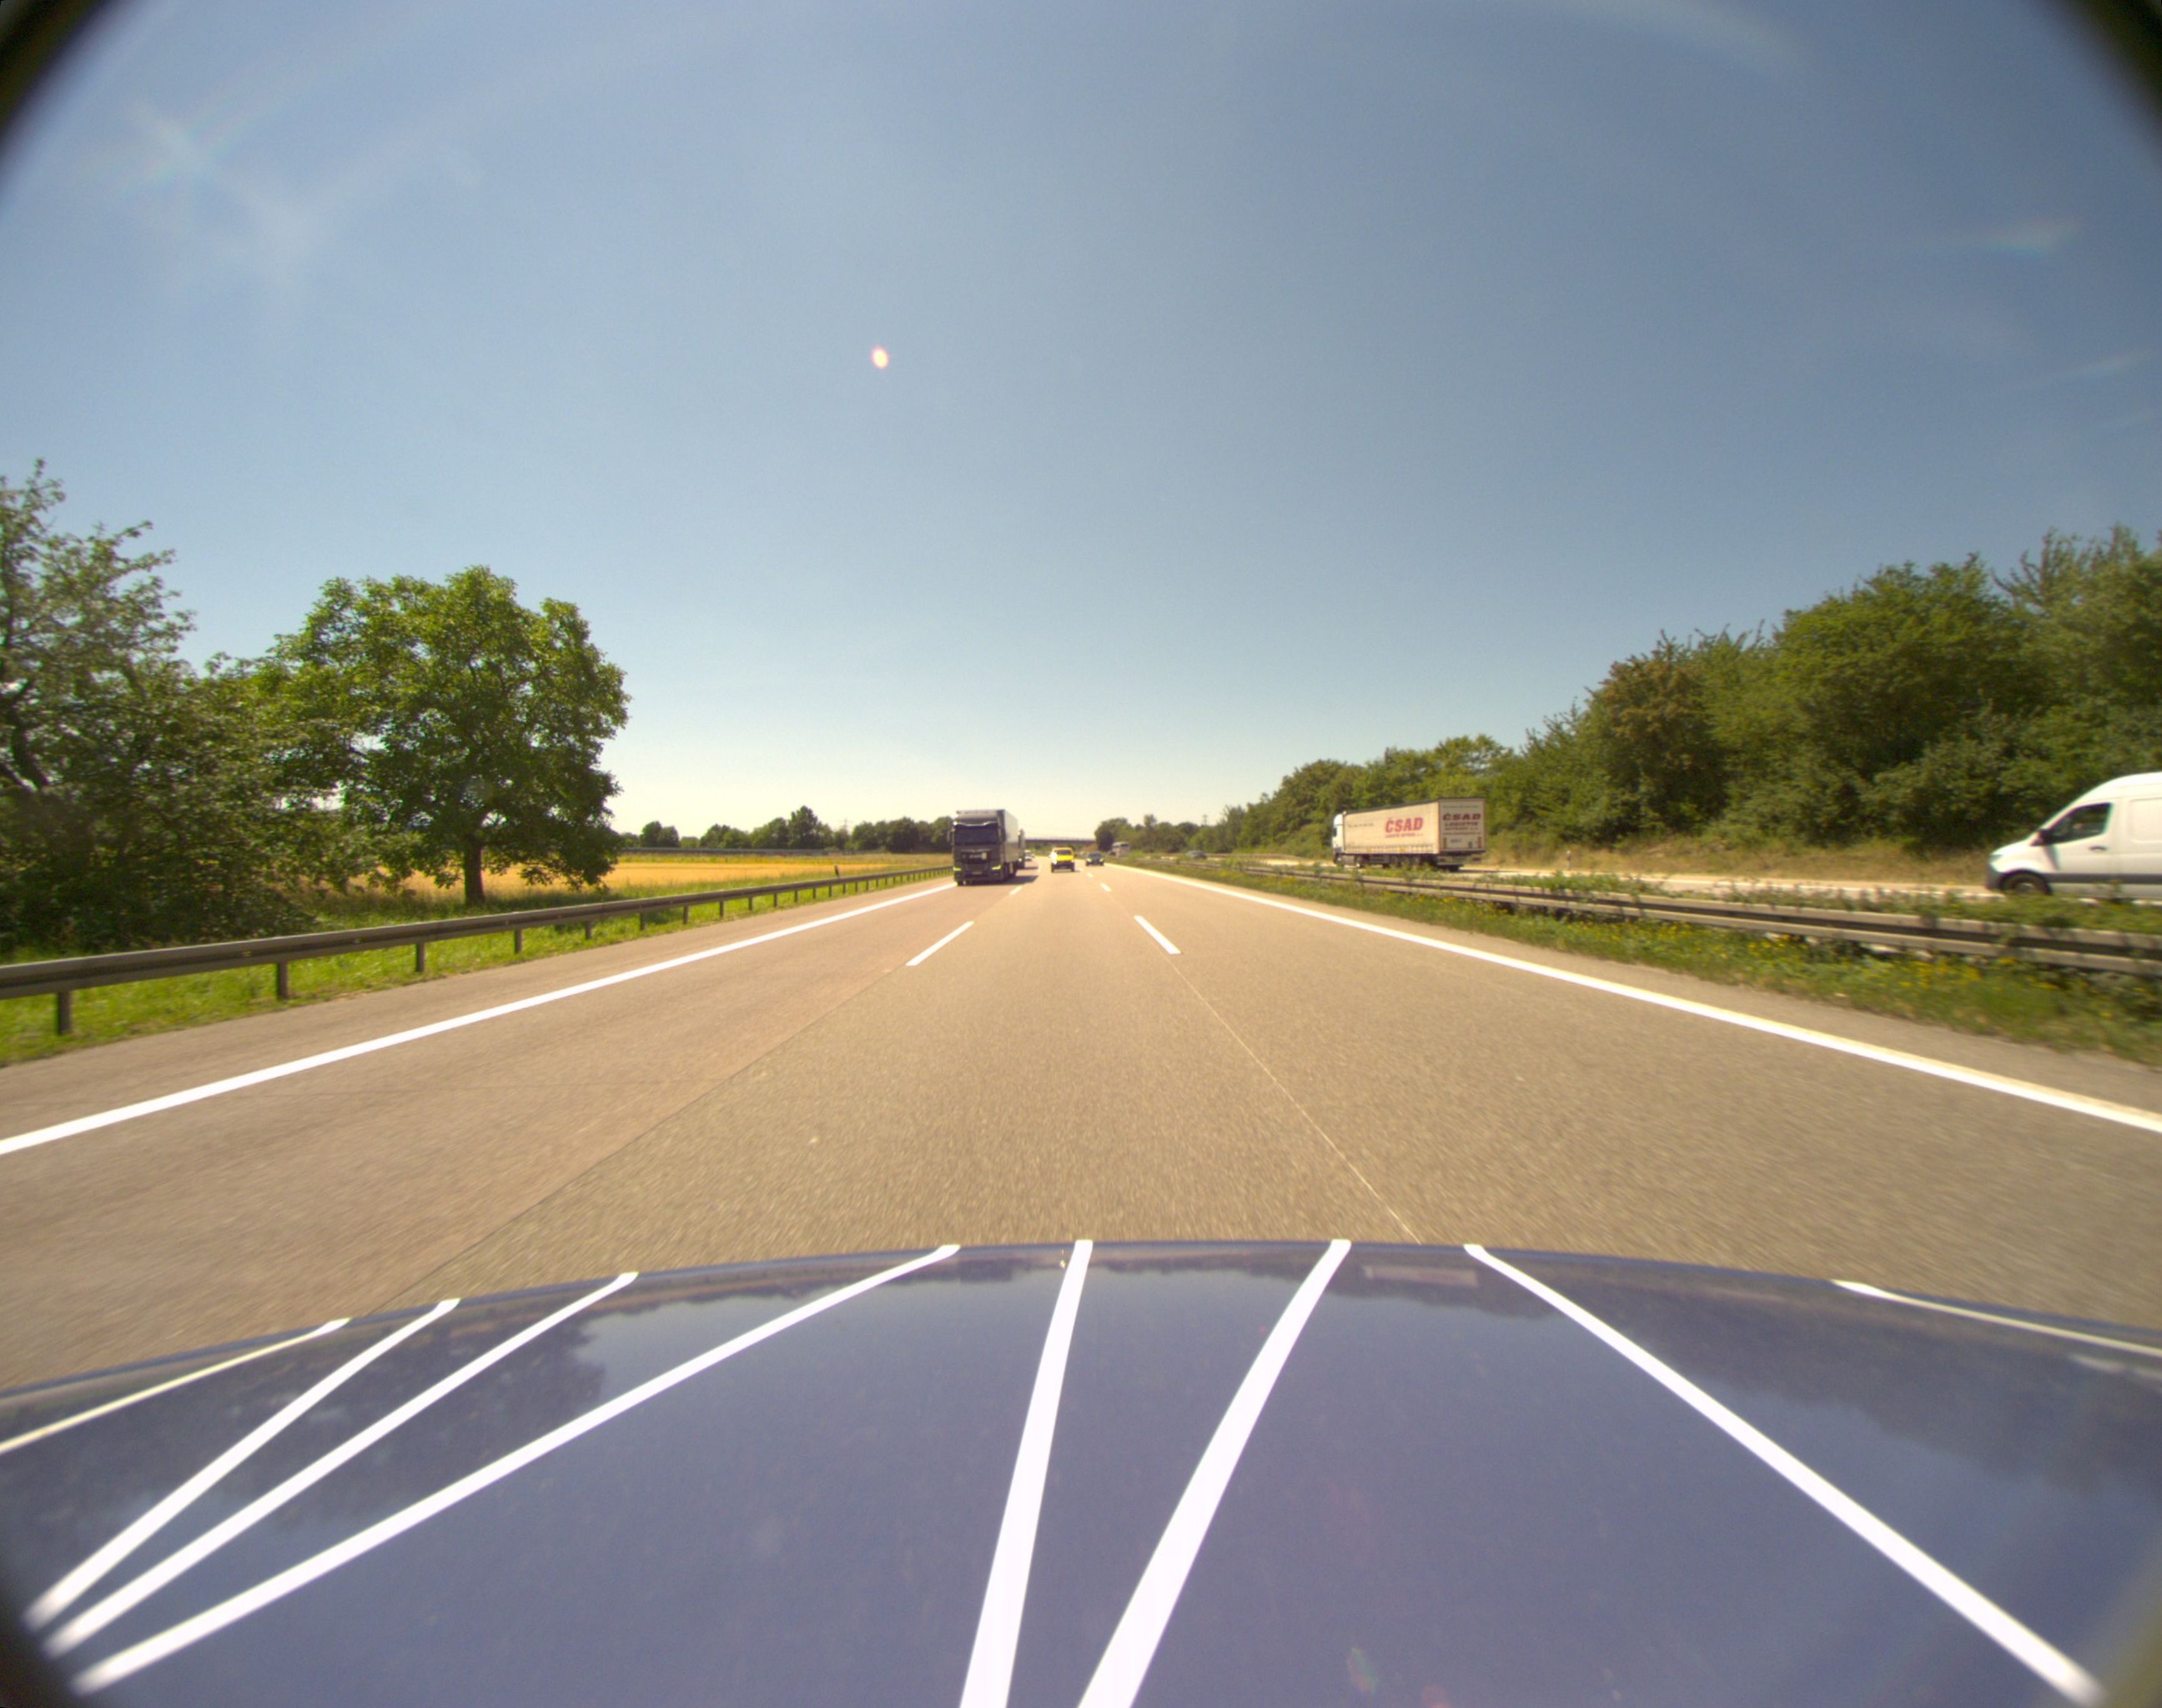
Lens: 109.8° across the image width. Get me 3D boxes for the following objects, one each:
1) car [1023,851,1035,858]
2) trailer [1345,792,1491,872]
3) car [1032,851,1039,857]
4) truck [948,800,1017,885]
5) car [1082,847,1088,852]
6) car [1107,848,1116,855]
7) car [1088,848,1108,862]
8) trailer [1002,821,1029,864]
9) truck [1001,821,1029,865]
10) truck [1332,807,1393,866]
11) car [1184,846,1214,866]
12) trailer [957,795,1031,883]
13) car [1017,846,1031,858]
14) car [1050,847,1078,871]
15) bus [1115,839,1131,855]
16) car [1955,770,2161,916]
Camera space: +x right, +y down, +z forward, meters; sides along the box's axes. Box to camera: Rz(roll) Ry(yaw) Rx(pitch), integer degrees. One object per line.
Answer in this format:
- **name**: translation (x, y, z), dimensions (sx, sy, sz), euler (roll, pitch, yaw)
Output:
- **car**: translation (-10.120, 0.096, 148.509), dimensions (1.786, 1.467, 3.995), euler (-1, 1, -11)
- **trailer**: translation (20.046, -1.233, 46.580), dimensions (2.713, 4.160, 13.555), euler (-1, 1, -1)
- **car**: translation (-13.320, 0.026, 222.273), dimensions (1.650, 1.557, 3.596), euler (-1, 1, -11)
- **truck**: translation (-5.159, -0.603, 40.762), dimensions (2.915, 4.231, 4.974), euler (-2, 1, 0)
- **car**: translation (1.344, -1.429, 244.383), dimensions (1.773, 1.506, 4.329), euler (-2, 1, -3)
- **car**: translation (7.261, -0.613, 182.743), dimensions (1.831, 1.622, 4.557), euler (-1, 1, -3)
- **car**: translation (1.758, 0.088, 79.548), dimensions (1.726, 1.478, 3.998), euler (-1, 1, -3)
- **trailer**: translation (-7.130, -1.355, 83.410), dimensions (2.603, 4.228, 13.630), euler (-2, 2, -4)
- **truck**: translation (-6.556, -1.121, 75.724), dimensions (2.608, 4.232, 5.085), euler (-2, 2, -4)
- **truck**: translation (19.914, -1.216, 53.985), dimensions (2.709, 3.943, 4.442), euler (-1, 1, -1)
- **car**: translation (11.460, 0.155, 74.072), dimensions (1.999, 1.850, 4.955), euler (0, 1, -1)
- **trailer**: translation (-5.133, -0.880, 47.936), dimensions (2.908, 4.630, 13.984), euler (-2, 1, 0)
- **car**: translation (-11.703, -0.399, 154.815), dimensions (2.190, 2.253, 4.945), euler (-1, 1, -11)
- **car**: translation (-1.431, 0.375, 61.190), dimensions (1.778, 1.882, 3.829), euler (0, 1, -8)
- **bus**: translation (10.644, -1.746, 193.345), dimensions (2.749, 3.686, 12.994), euler (-2, 1, -3)
- **car**: translation (20.124, -0.196, 12.815), dimensions (2.234, 2.562, 7.390), euler (0, 1, 0)
